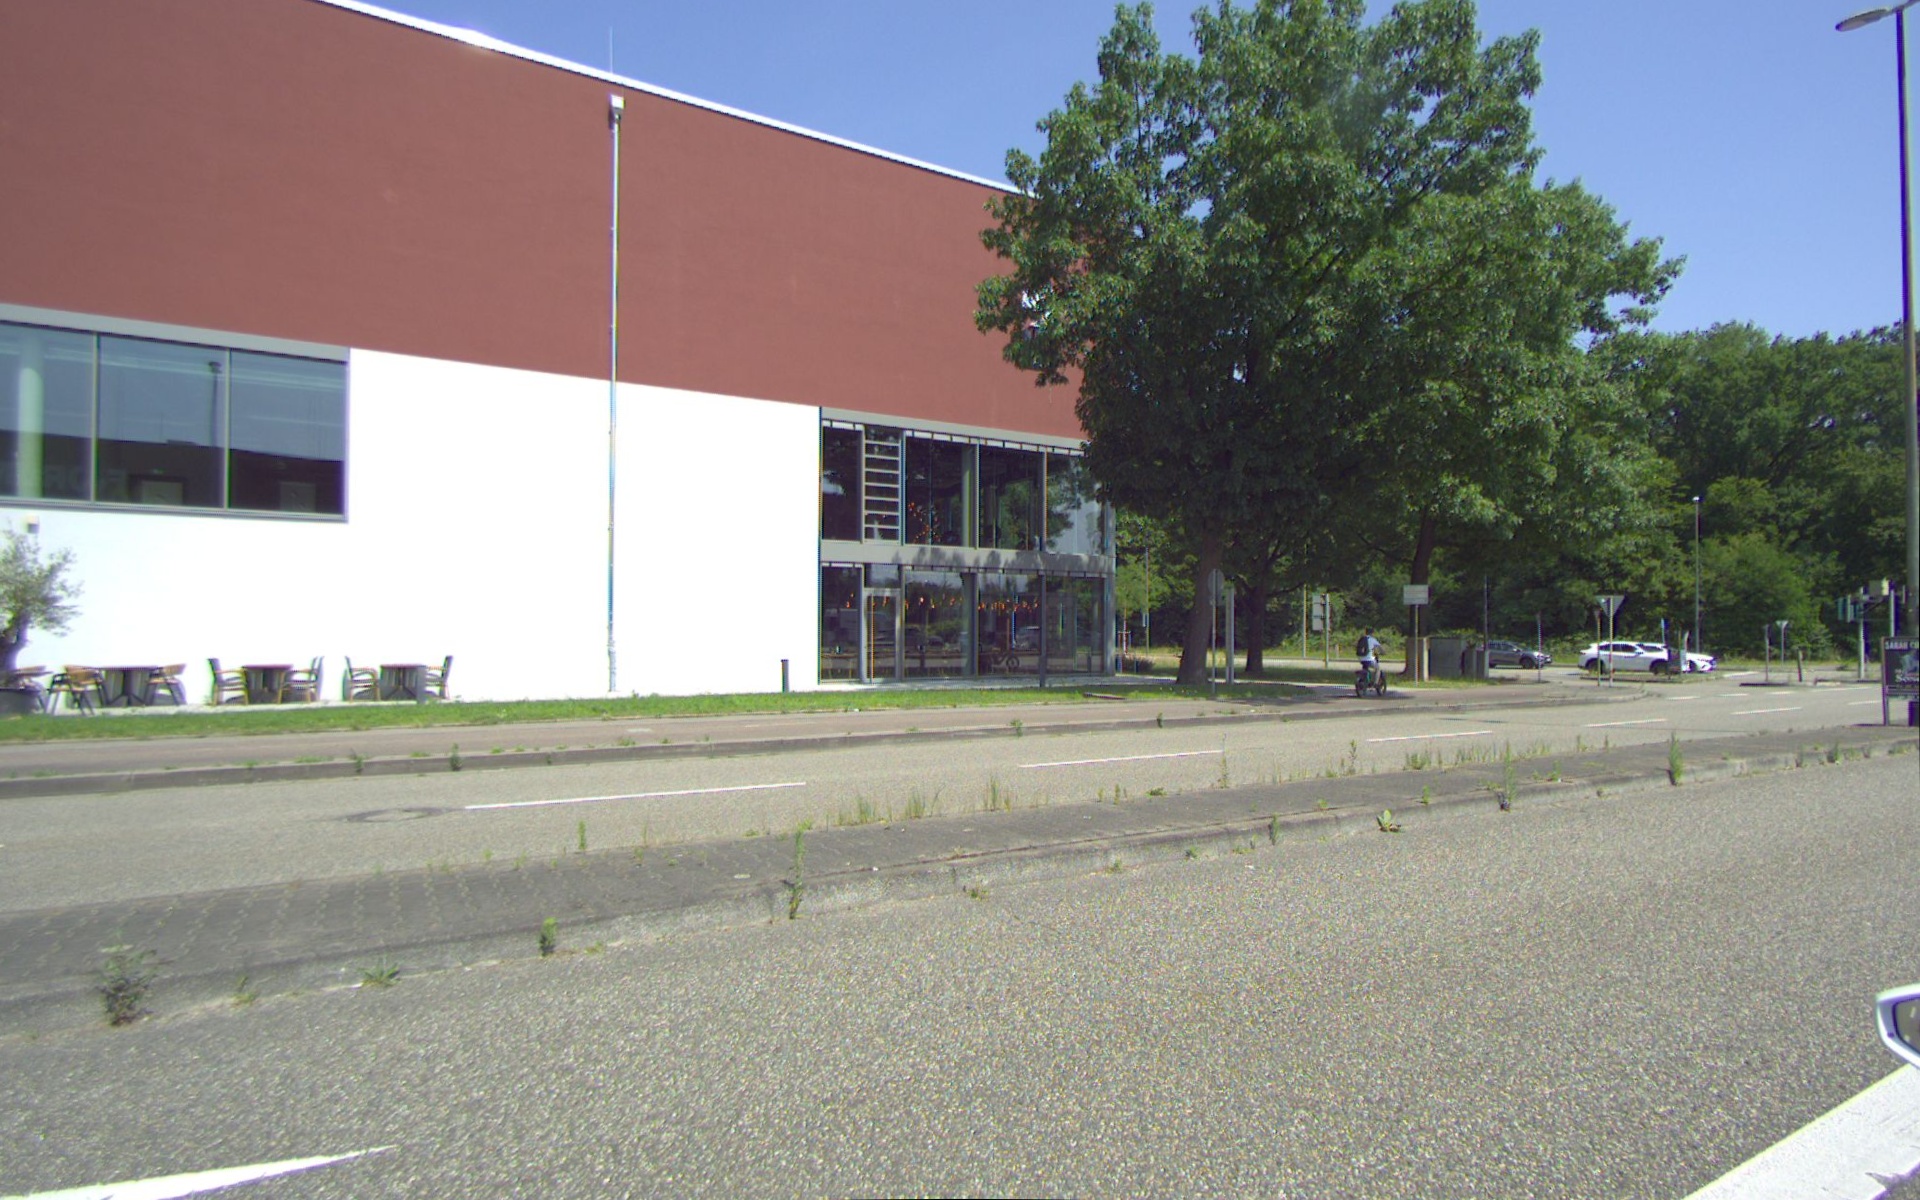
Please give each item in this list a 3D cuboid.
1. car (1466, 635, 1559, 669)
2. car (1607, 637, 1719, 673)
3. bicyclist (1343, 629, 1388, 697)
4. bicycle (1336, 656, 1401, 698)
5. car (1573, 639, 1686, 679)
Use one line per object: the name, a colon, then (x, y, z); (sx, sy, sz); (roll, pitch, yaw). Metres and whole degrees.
car: (31.951, 2.975, 58.203); (1.796, 1.704, 4.332); (2, -1, -41)
car: (36.318, 2.880, 51.962); (1.794, 1.703, 4.340); (2, -6, -37)
bicyclist: (9.995, 1.547, 24.782); (0.913, 1.652, 0.605); (1, -2, -30)
bicycle: (10.093, 1.885, 24.814); (1.640, 0.982, 0.614); (1, -2, -30)
car: (33.170, 2.898, 49.857); (1.794, 1.704, 4.338); (2, 0, -37)
